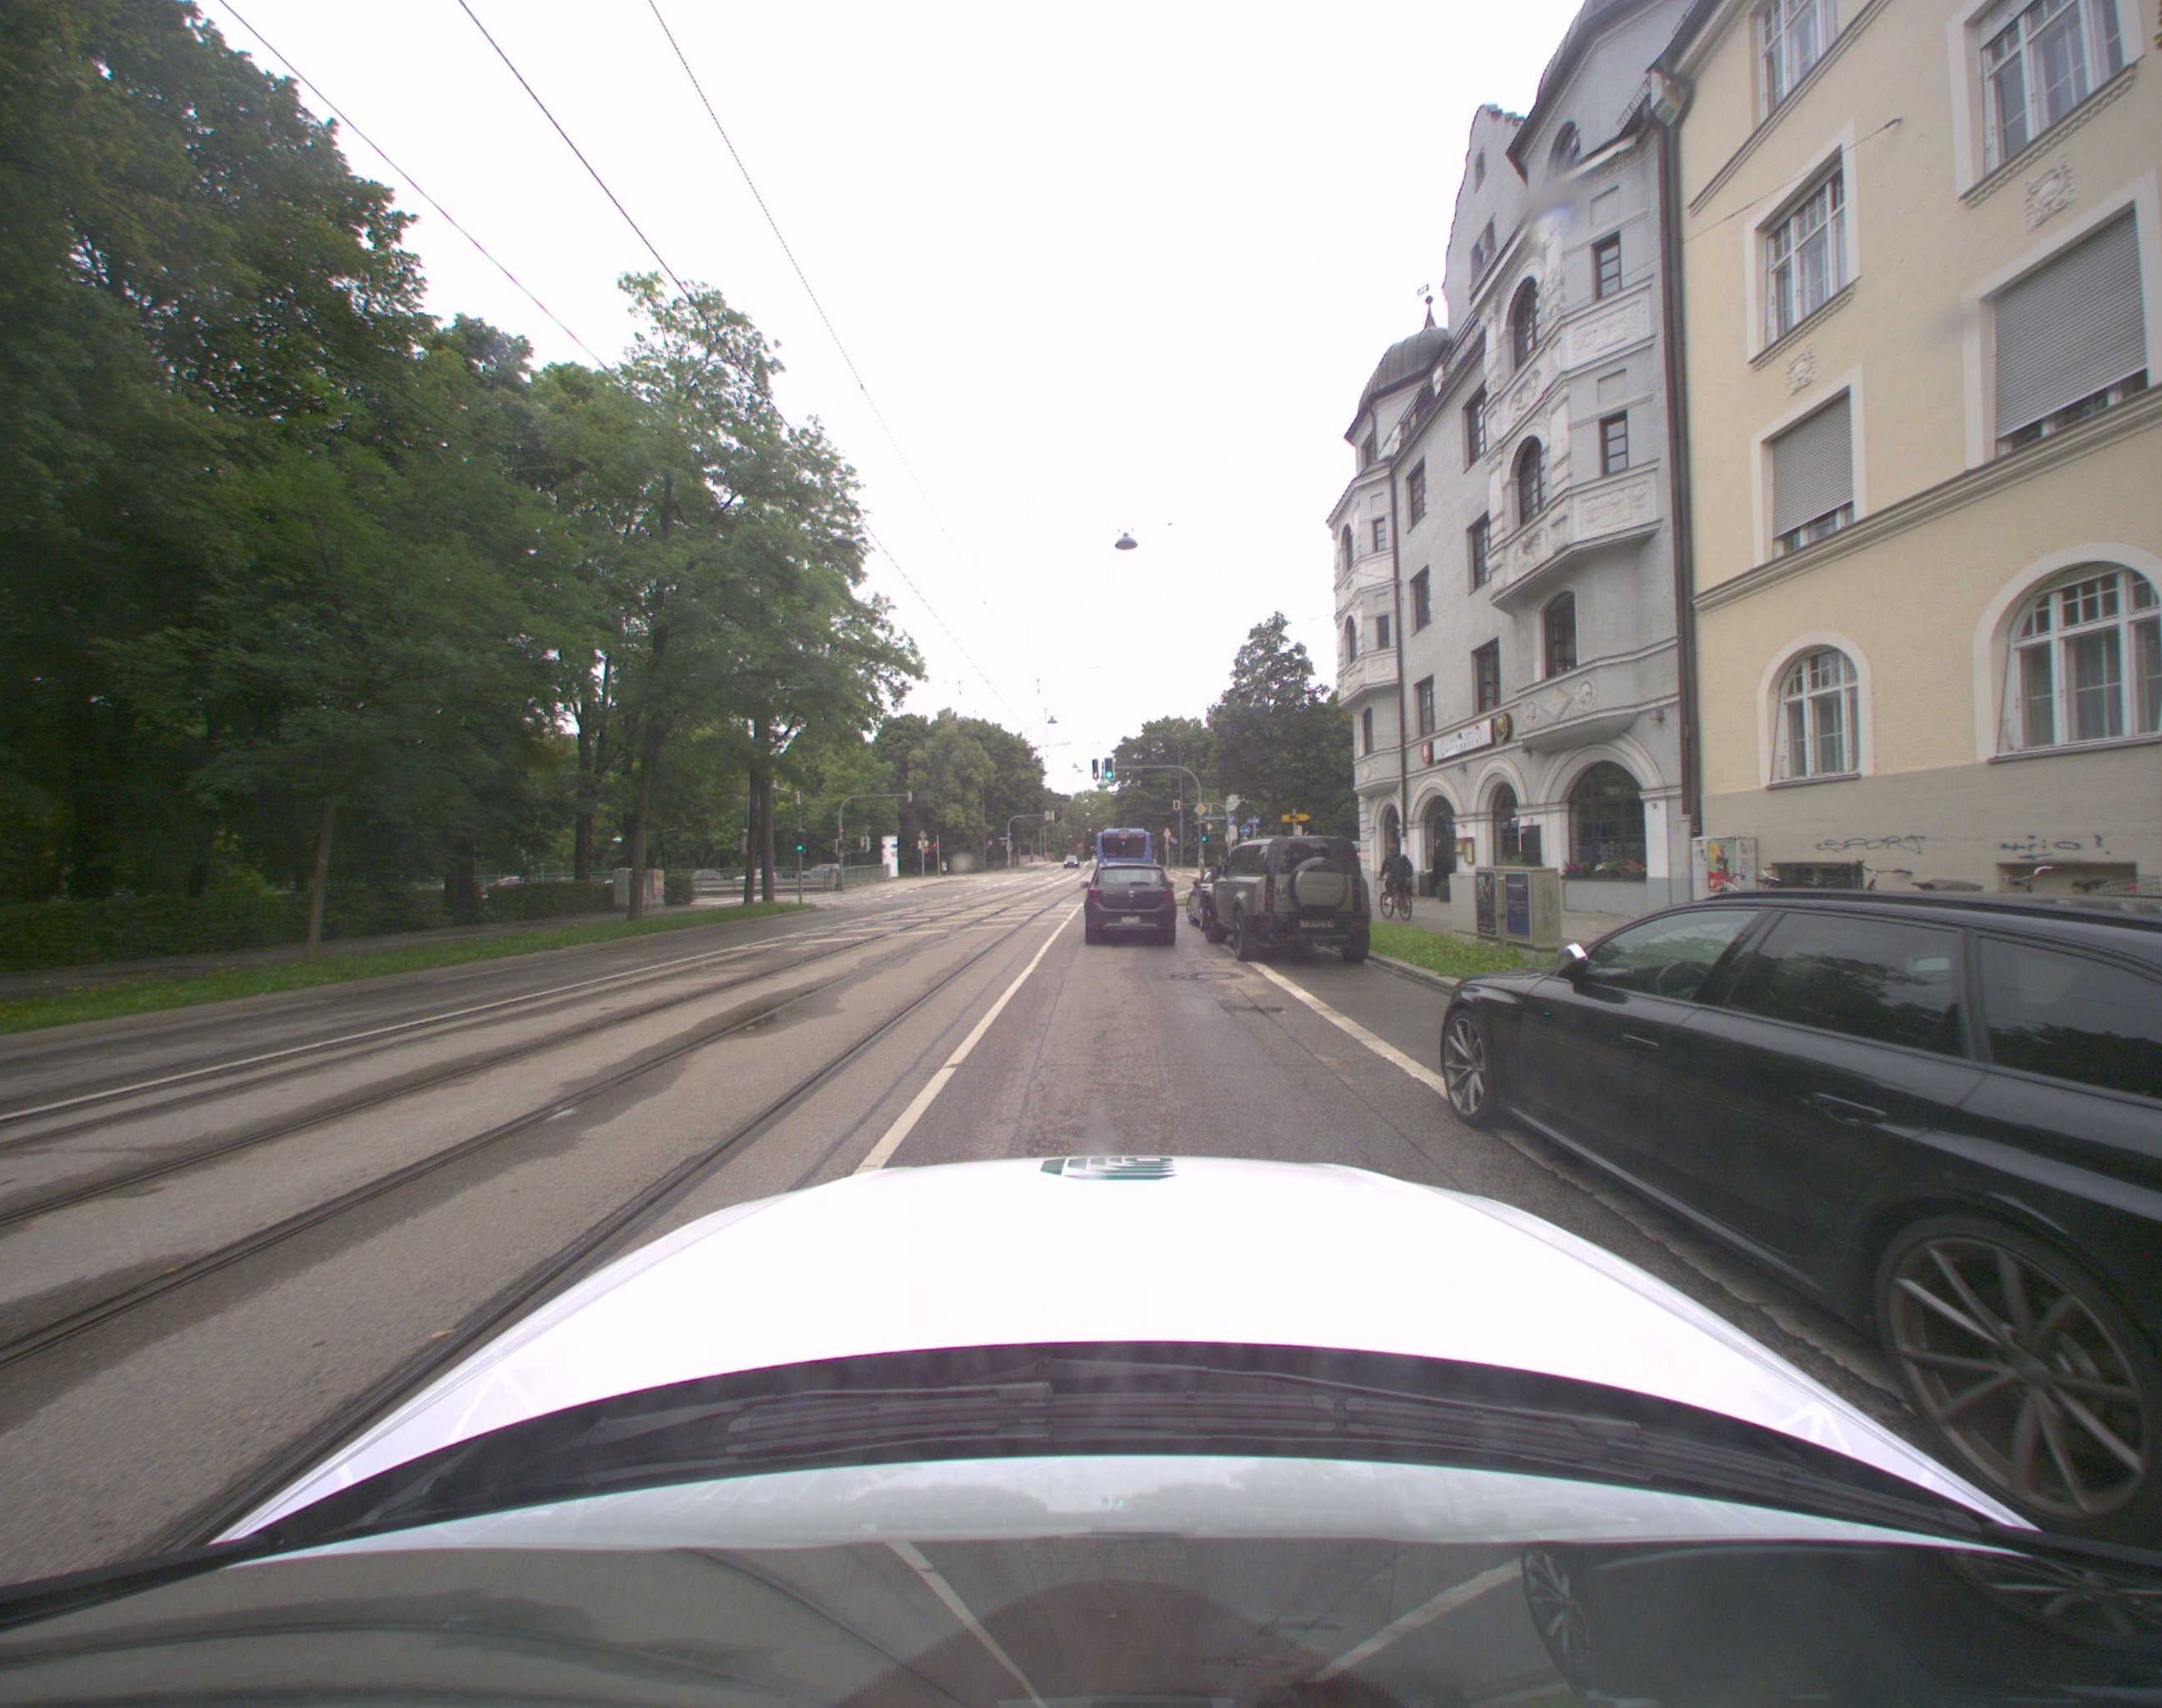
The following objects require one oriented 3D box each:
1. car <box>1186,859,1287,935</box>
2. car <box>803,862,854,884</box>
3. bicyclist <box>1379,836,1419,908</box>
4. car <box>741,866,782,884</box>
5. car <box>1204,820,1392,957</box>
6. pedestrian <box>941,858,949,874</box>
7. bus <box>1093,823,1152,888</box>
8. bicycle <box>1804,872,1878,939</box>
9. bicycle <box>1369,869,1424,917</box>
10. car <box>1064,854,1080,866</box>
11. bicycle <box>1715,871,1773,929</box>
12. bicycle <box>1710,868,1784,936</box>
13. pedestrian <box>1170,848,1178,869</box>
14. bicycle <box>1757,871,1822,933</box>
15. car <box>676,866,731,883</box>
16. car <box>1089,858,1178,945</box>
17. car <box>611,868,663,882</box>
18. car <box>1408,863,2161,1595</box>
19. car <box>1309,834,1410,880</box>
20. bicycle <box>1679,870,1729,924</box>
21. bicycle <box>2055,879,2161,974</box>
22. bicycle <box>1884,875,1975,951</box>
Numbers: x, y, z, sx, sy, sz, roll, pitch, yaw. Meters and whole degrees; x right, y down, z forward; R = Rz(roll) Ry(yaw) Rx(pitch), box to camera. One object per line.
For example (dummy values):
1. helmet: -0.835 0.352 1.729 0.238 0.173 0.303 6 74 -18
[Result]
1. car: 3.544 0.932 19.236 1.707 1.591 4.329 0 -1 2
2. car: -22.156 1.670 71.484 4.015 1.887 1.488 0 -1 -5
3. bicyclist: 7.760 0.432 19.895 0.722 1.729 0.726 0 -1 1
4. car: -27.804 1.825 70.917 3.103 1.452 1.249 0 -1 -4
5. car: 3.410 0.520 13.813 1.908 1.906 4.806 0 -1 0
6. pedestrian: -12.854 1.150 76.883 0.529 1.501 0.589 0 -1 6
7. bus: 1.963 0.126 41.024 2.670 2.997 6.960 0 -1 0
8. bicycle: 11.076 0.732 11.891 0.271 0.930 0.886 0 -1 3
9. bicycle: 7.762 0.931 20.132 0.577 1.078 1.912 -3 -1 1
10. car: -1.057 0.716 96.506 1.781 1.370 3.400 0 -1 1
11. bicycle: 11.238 0.766 13.818 0.289 0.930 0.886 0 -1 3
12. bicycle: 10.794 0.754 13.240 0.241 1.039 1.224 0 -1 2
13. pedestrian: 9.862 0.477 86.330 0.759 2.116 0.854 -2 -1 2
14. bicycle: 11.171 0.741 12.859 0.304 0.930 0.886 0 -1 4
15. car: -32.783 1.757 70.820 3.915 1.404 1.719 0 -1 -3
16. car: 0.998 0.877 16.435 1.595 1.556 3.526 0 -1 1
17. car: -38.462 1.855 70.643 3.720 1.185 1.249 0 -1 -4
18. car: 3.008 0.757 3.202 1.709 1.426 4.603 0 -1 1
19. car: 16.459 0.193 48.351 5.280 2.613 2.229 0 -1 -1
20. bicycle: 11.270 0.765 14.756 0.258 0.930 0.886 0 -1 3
21. bicycle: 10.953 0.744 8.625 0.220 0.930 0.886 0 -1 1
22. bicycle: 10.970 0.739 10.556 0.284 0.930 0.886 0 -1 3
